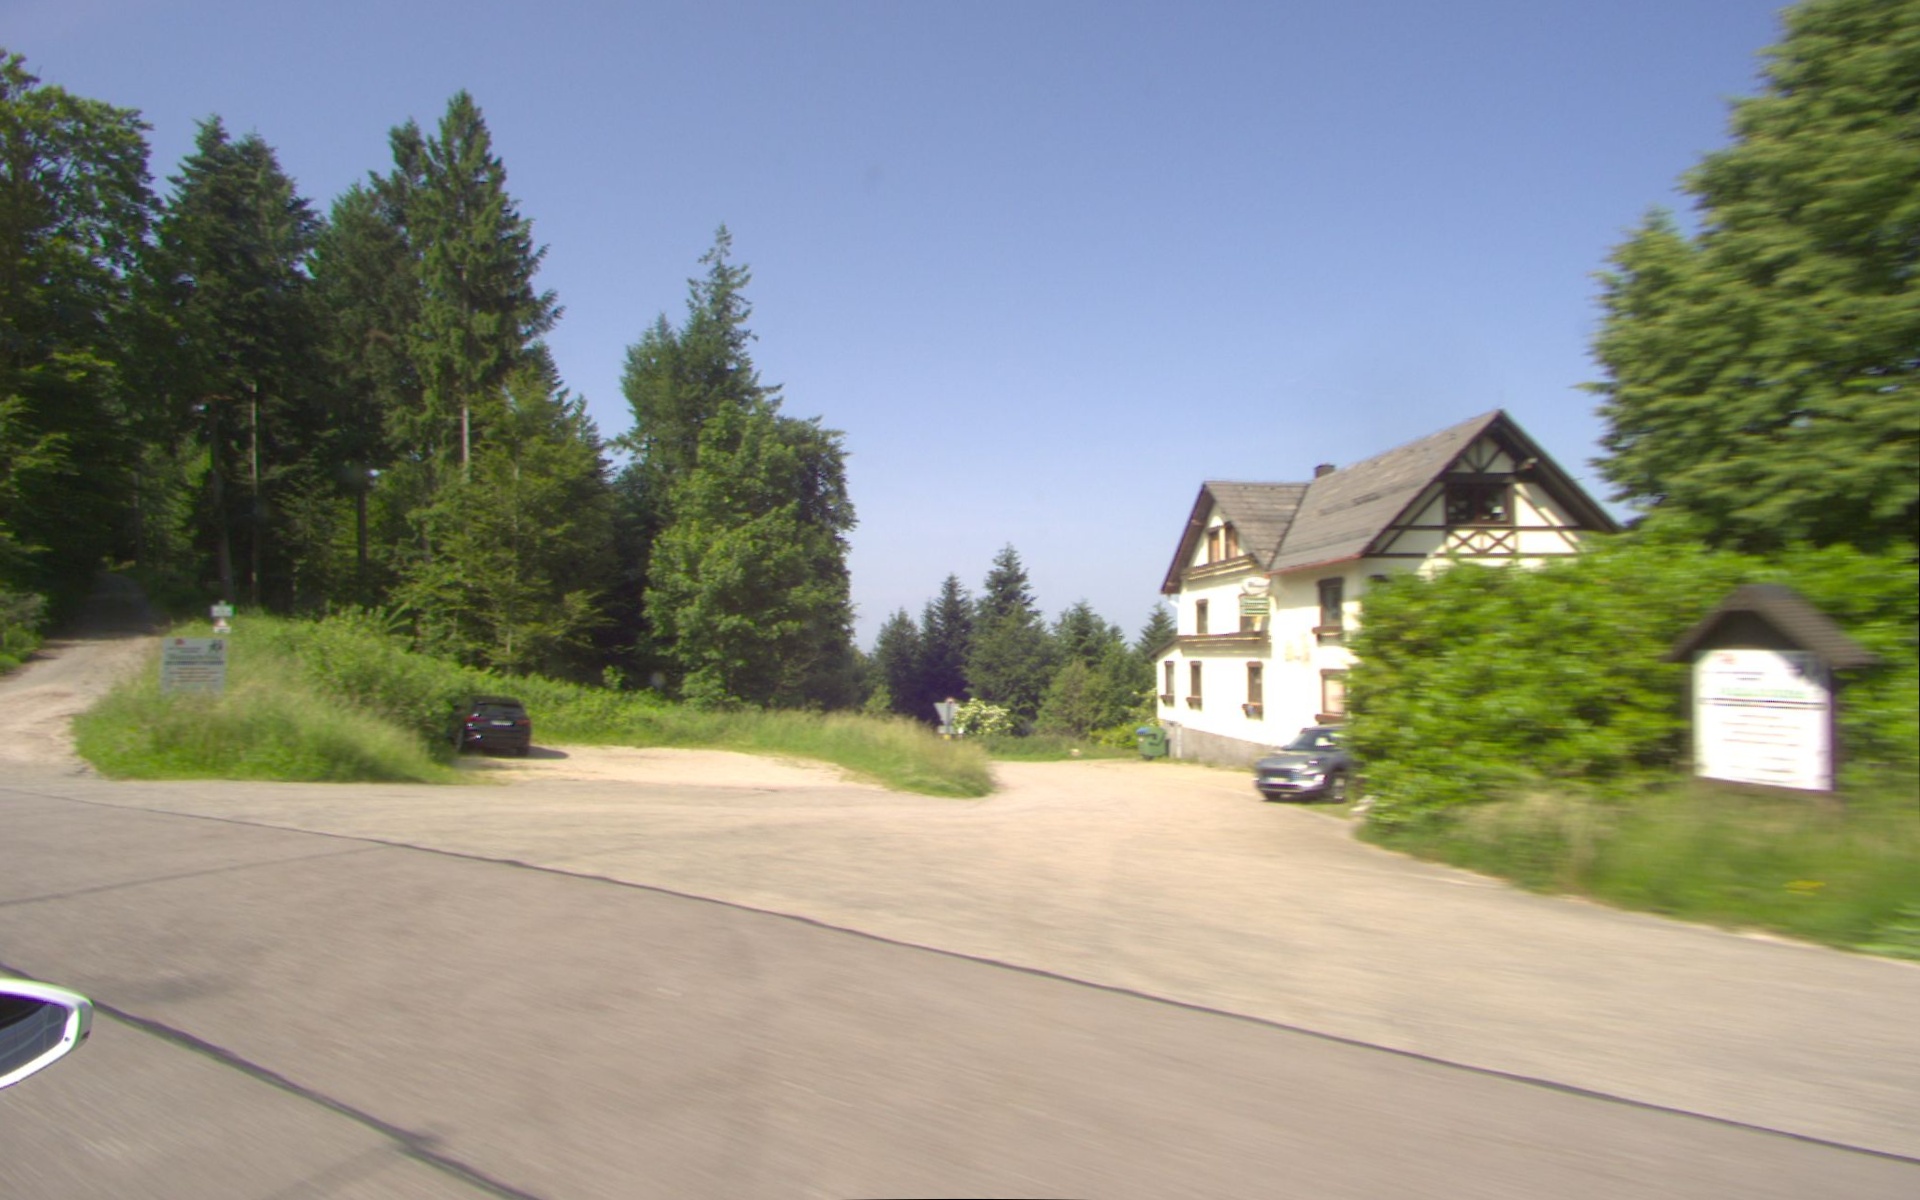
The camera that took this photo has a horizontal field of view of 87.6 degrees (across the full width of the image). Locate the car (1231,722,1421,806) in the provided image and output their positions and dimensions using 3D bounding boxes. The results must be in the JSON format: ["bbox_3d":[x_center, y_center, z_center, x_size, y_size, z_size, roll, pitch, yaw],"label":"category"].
[{"bbox_3d":[8.381,3.666,22.814,4.429,1.640,1.966,4,-9,-38],"label":"car"}]

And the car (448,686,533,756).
[{"bbox_3d":[-13.544,3.429,28.781,1.912,1.612,3.984,7,-5,-27],"label":"car"}]
